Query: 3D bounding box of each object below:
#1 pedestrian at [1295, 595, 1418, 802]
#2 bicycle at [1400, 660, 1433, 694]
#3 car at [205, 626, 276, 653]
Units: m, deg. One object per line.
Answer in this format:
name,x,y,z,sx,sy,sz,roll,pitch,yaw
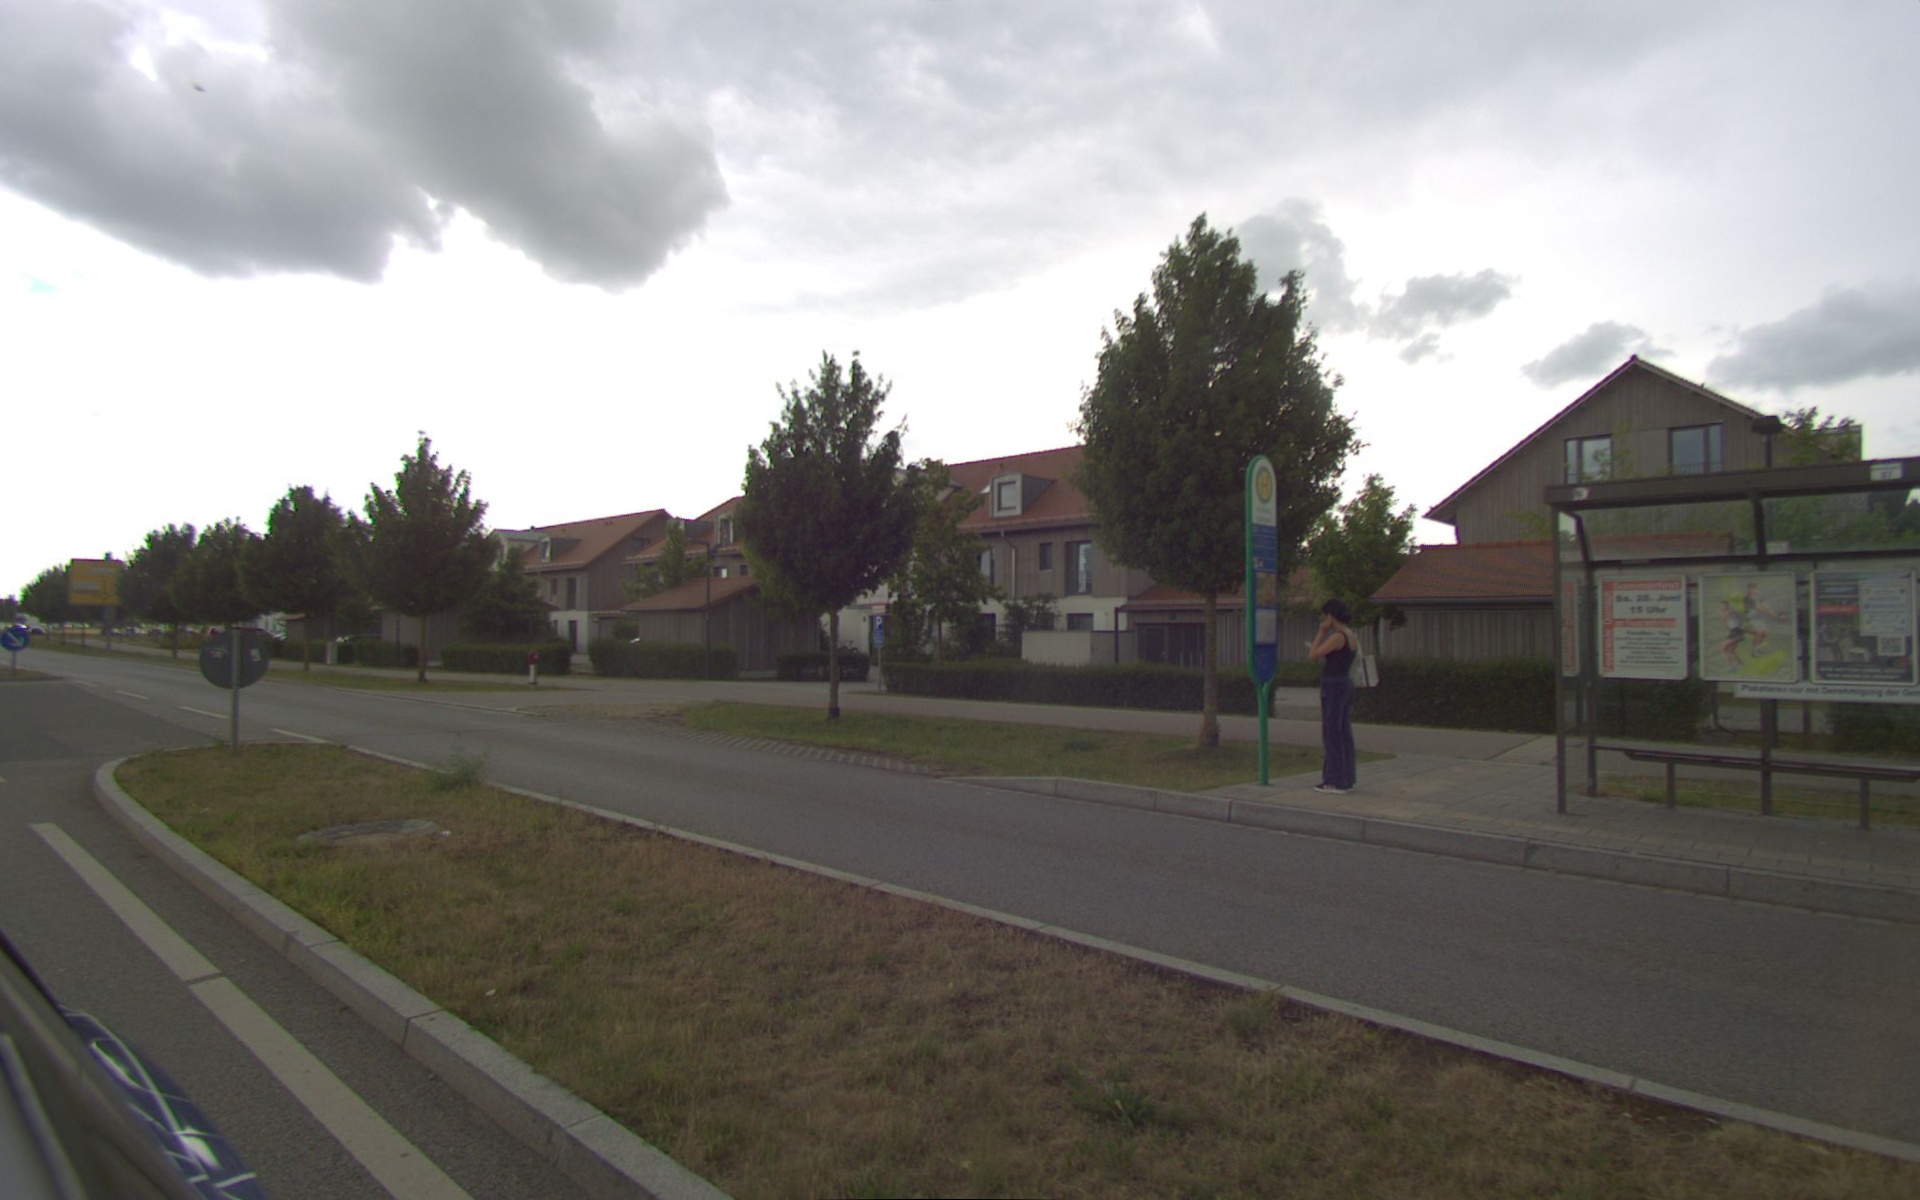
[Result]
pedestrian,3.354,0.800,8.578,0.812,1.649,0.582,-1,-2,41
bicycle,13.681,2.289,30.309,0.419,0.916,1.922,-1,-2,39
car,-59.116,3.218,83.156,4.505,2.029,2.001,0,0,-45
